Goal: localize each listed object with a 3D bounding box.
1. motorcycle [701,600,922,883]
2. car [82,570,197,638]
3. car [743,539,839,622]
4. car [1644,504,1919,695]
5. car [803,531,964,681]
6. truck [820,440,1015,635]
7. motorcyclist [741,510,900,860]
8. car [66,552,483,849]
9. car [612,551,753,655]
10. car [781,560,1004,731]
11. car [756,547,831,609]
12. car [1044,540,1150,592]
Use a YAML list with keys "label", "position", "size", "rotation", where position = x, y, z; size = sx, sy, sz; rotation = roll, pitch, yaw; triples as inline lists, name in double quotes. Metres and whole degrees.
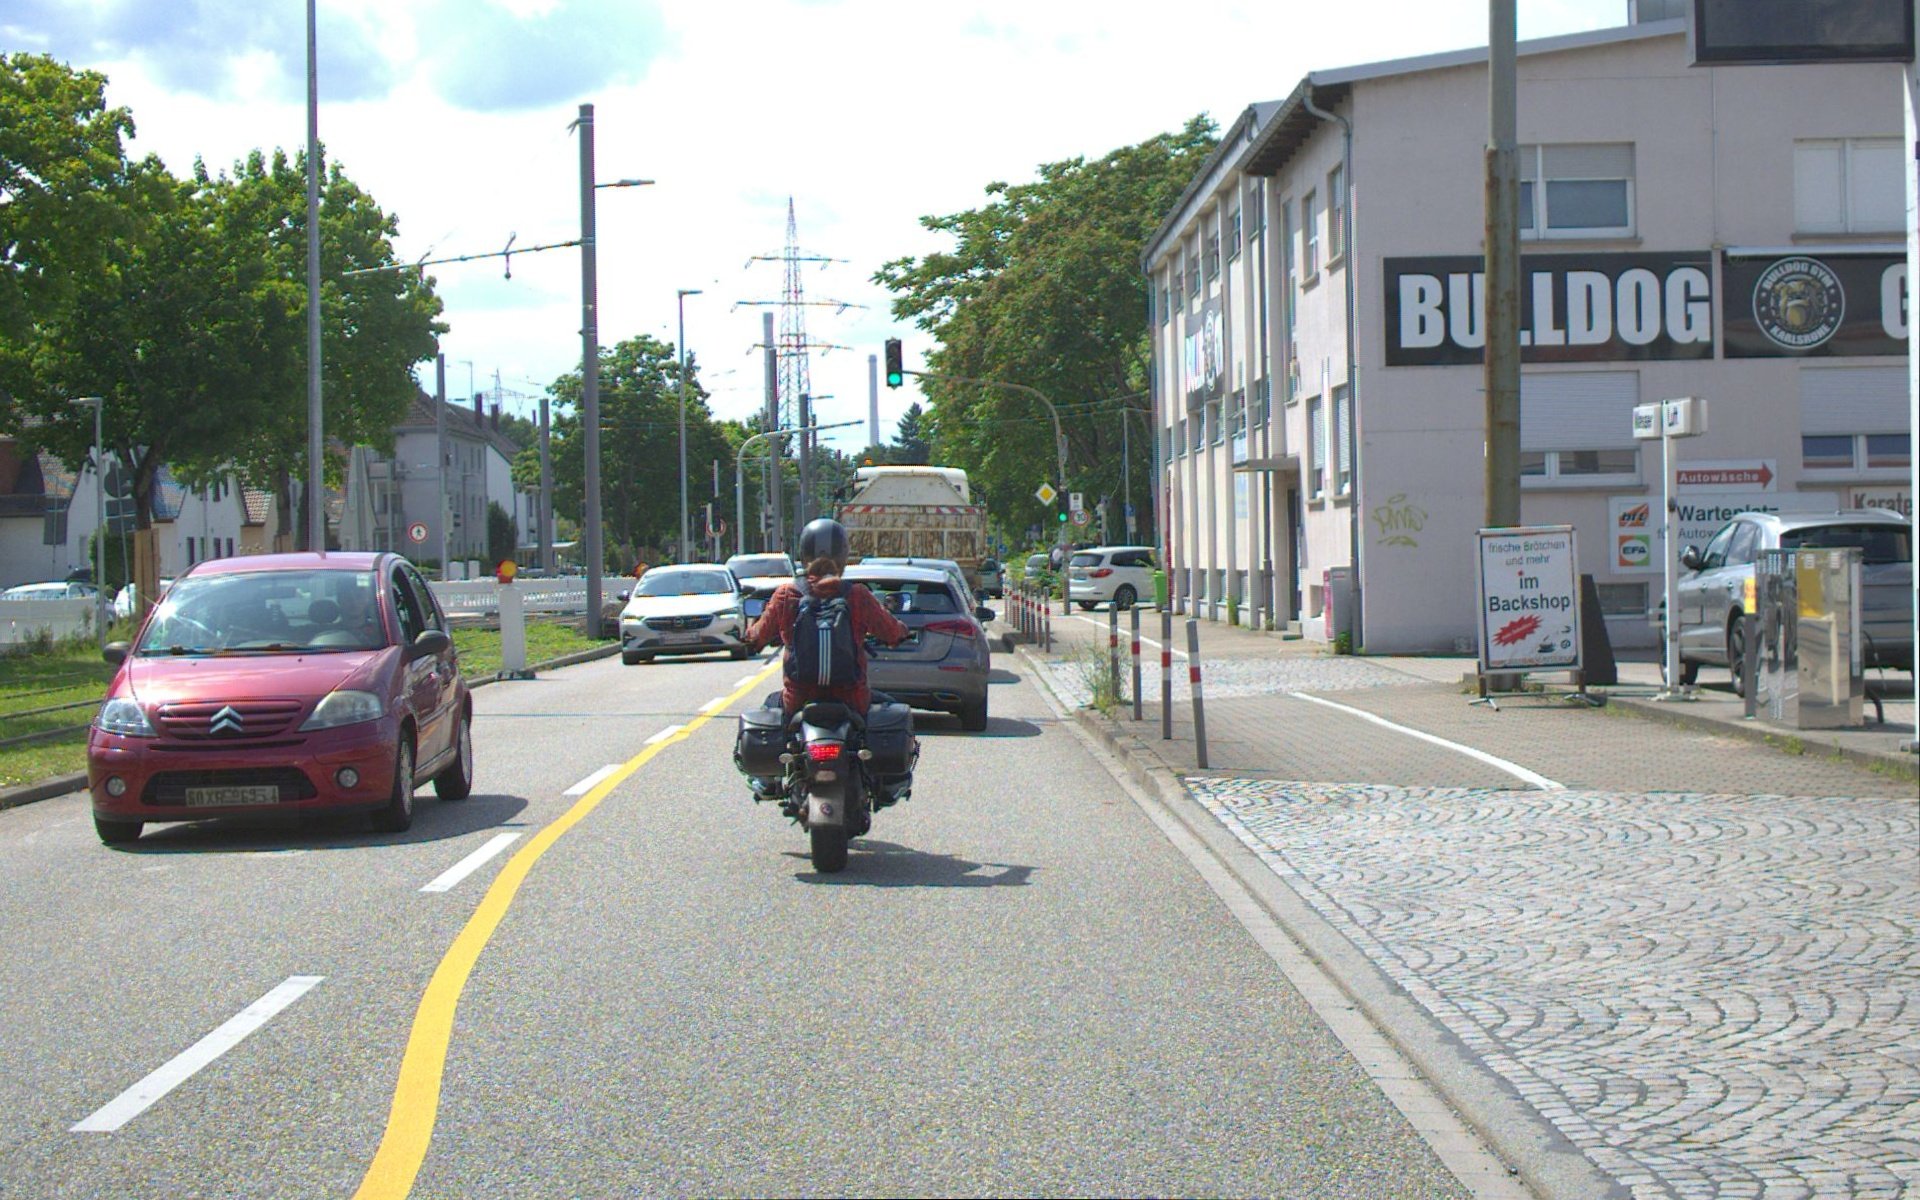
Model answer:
- label: "motorcycle"
  position: [-0.672, 0.627, 16.456]
  size: [0.942, 1.196, 2.472]
  rotation: [1, 1, 0]
- label: "car"
  position: [-17.072, 0.077, 71.671]
  size: [1.521, 1.349, 3.621]
  rotation: [1, 0, 0]
- label: "car"
  position: [-3.599, -0.409, 73.818]
  size: [1.824, 1.660, 4.462]
  rotation: [-2, 0, -1]
- label: "car"
  position: [7.651, -0.032, 31.401]
  size: [1.945, 1.619, 4.616]
  rotation: [0, 1, 1]
- label: "car"
  position: [-0.913, 0.027, 43.758]
  size: [1.901, 1.706, 4.720]
  rotation: [-1, 2, 0]
- label: "truck"
  position: [-0.641, -1.041, 60.559]
  size: [2.967, 3.162, 7.763]
  rotation: [1, 0, 2]
- label: "motorcyclist"
  position: [-0.647, 0.388, 16.128]
  size: [0.698, 1.599, 0.692]
  rotation: [1, 0, 0]
- label: "car"
  position: [-3.724, 0.481, 19.245]
  size: [1.578, 1.464, 3.720]
  rotation: [-1, 1, 0]
- label: "car"
  position: [-4.137, 0.037, 51.853]
  size: [1.821, 1.440, 4.484]
  rotation: [-2, 0, -1]
- label: "car"
  position: [-0.672, 0.362, 31.031]
  size: [1.731, 1.399, 4.087]
  rotation: [1, 1, -5]
- label: "car"
  position: [-4.238, -0.554, 87.781]
  size: [1.692, 1.408, 3.860]
  rotation: [-4, 0, -1]
- label: "car"
  position: [5.242, -1.289, 131.460]
  size: [3.989, 1.919, 1.802]
  rotation: [1, 0, -45]
